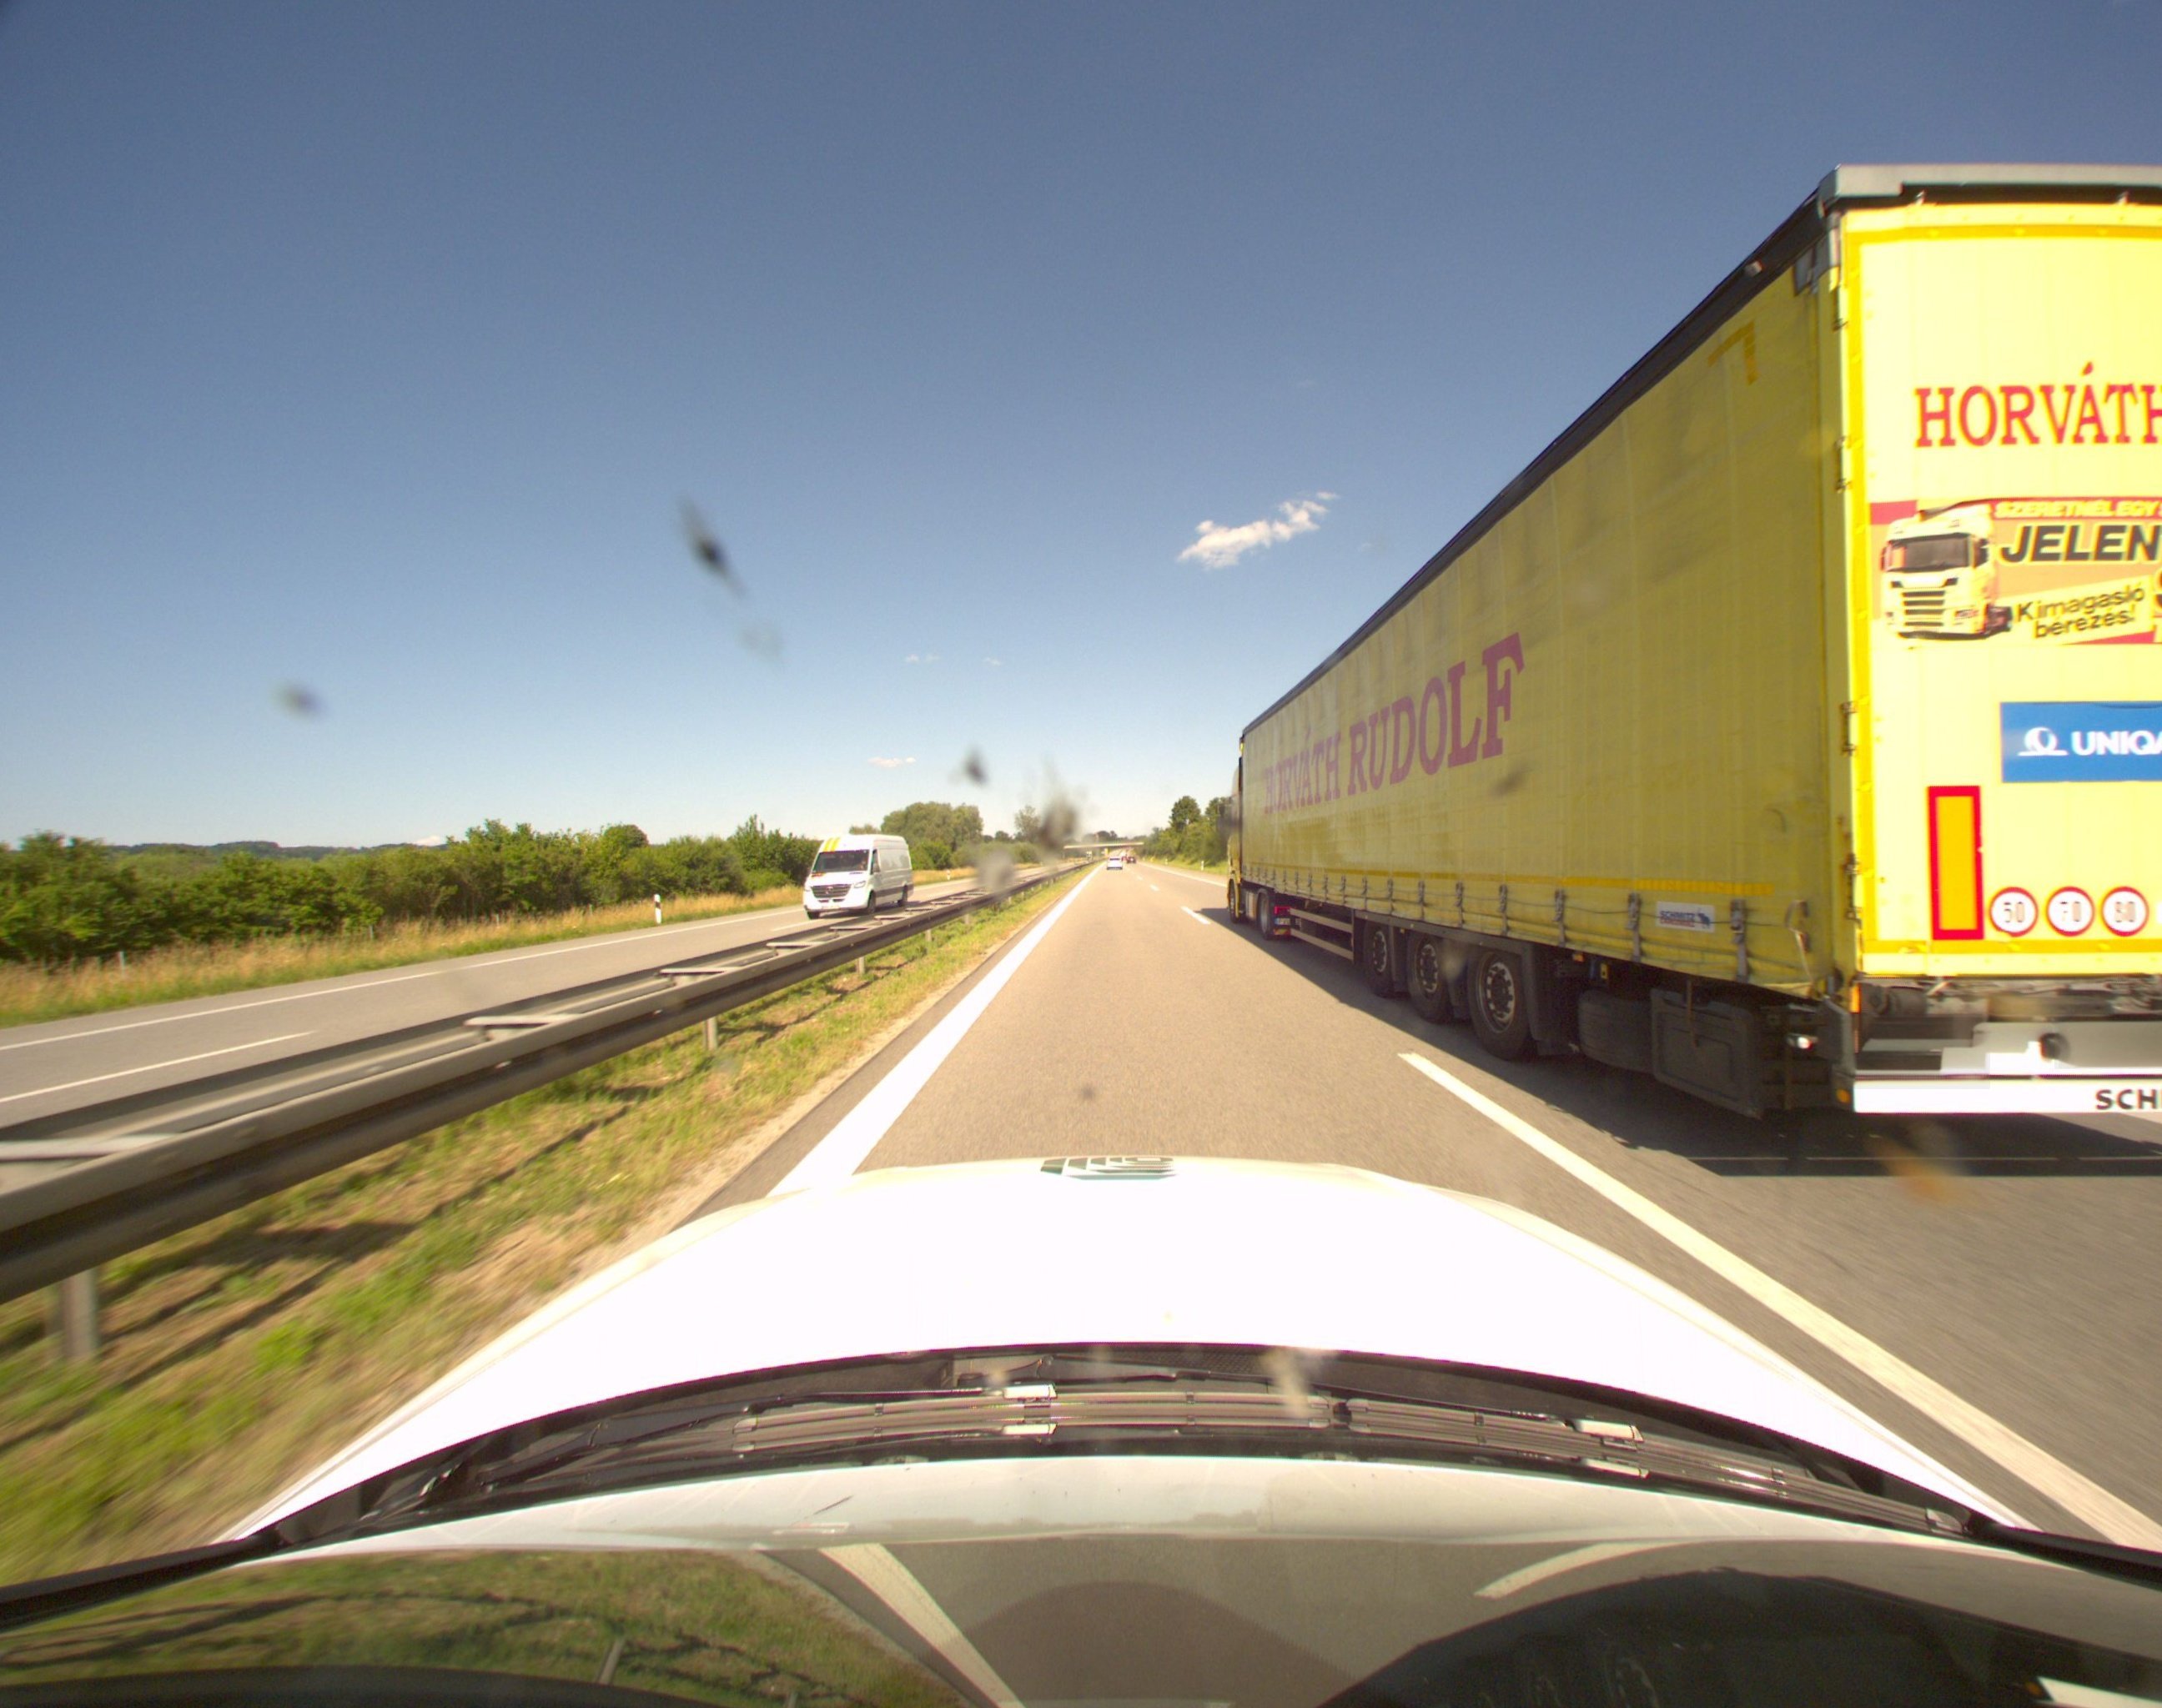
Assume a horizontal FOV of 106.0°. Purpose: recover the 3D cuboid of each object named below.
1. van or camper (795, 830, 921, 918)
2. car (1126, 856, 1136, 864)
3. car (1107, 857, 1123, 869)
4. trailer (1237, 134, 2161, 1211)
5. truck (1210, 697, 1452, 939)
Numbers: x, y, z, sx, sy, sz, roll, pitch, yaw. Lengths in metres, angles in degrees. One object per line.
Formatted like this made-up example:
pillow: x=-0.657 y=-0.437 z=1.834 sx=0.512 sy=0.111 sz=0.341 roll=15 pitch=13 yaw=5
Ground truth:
van or camper: x=-7.288 y=0.613 z=27.651 sx=1.986 sy=2.497 sz=7.230 roll=-3 pitch=-1 yaw=2
car: x=9.922 y=1.265 z=161.187 sx=1.836 sy=1.520 sz=4.002 roll=0 pitch=-1 yaw=2
car: x=3.881 y=1.010 z=92.835 sx=1.836 sy=1.416 sz=4.002 roll=0 pitch=-1 yaw=2
trailer: x=4.505 y=-0.647 z=9.650 sx=3.173 sy=4.059 sz=13.191 roll=0 pitch=-1 yaw=2
truck: x=4.749 y=-0.589 z=17.031 sx=3.158 sy=4.114 sz=6.388 roll=0 pitch=-1 yaw=1
